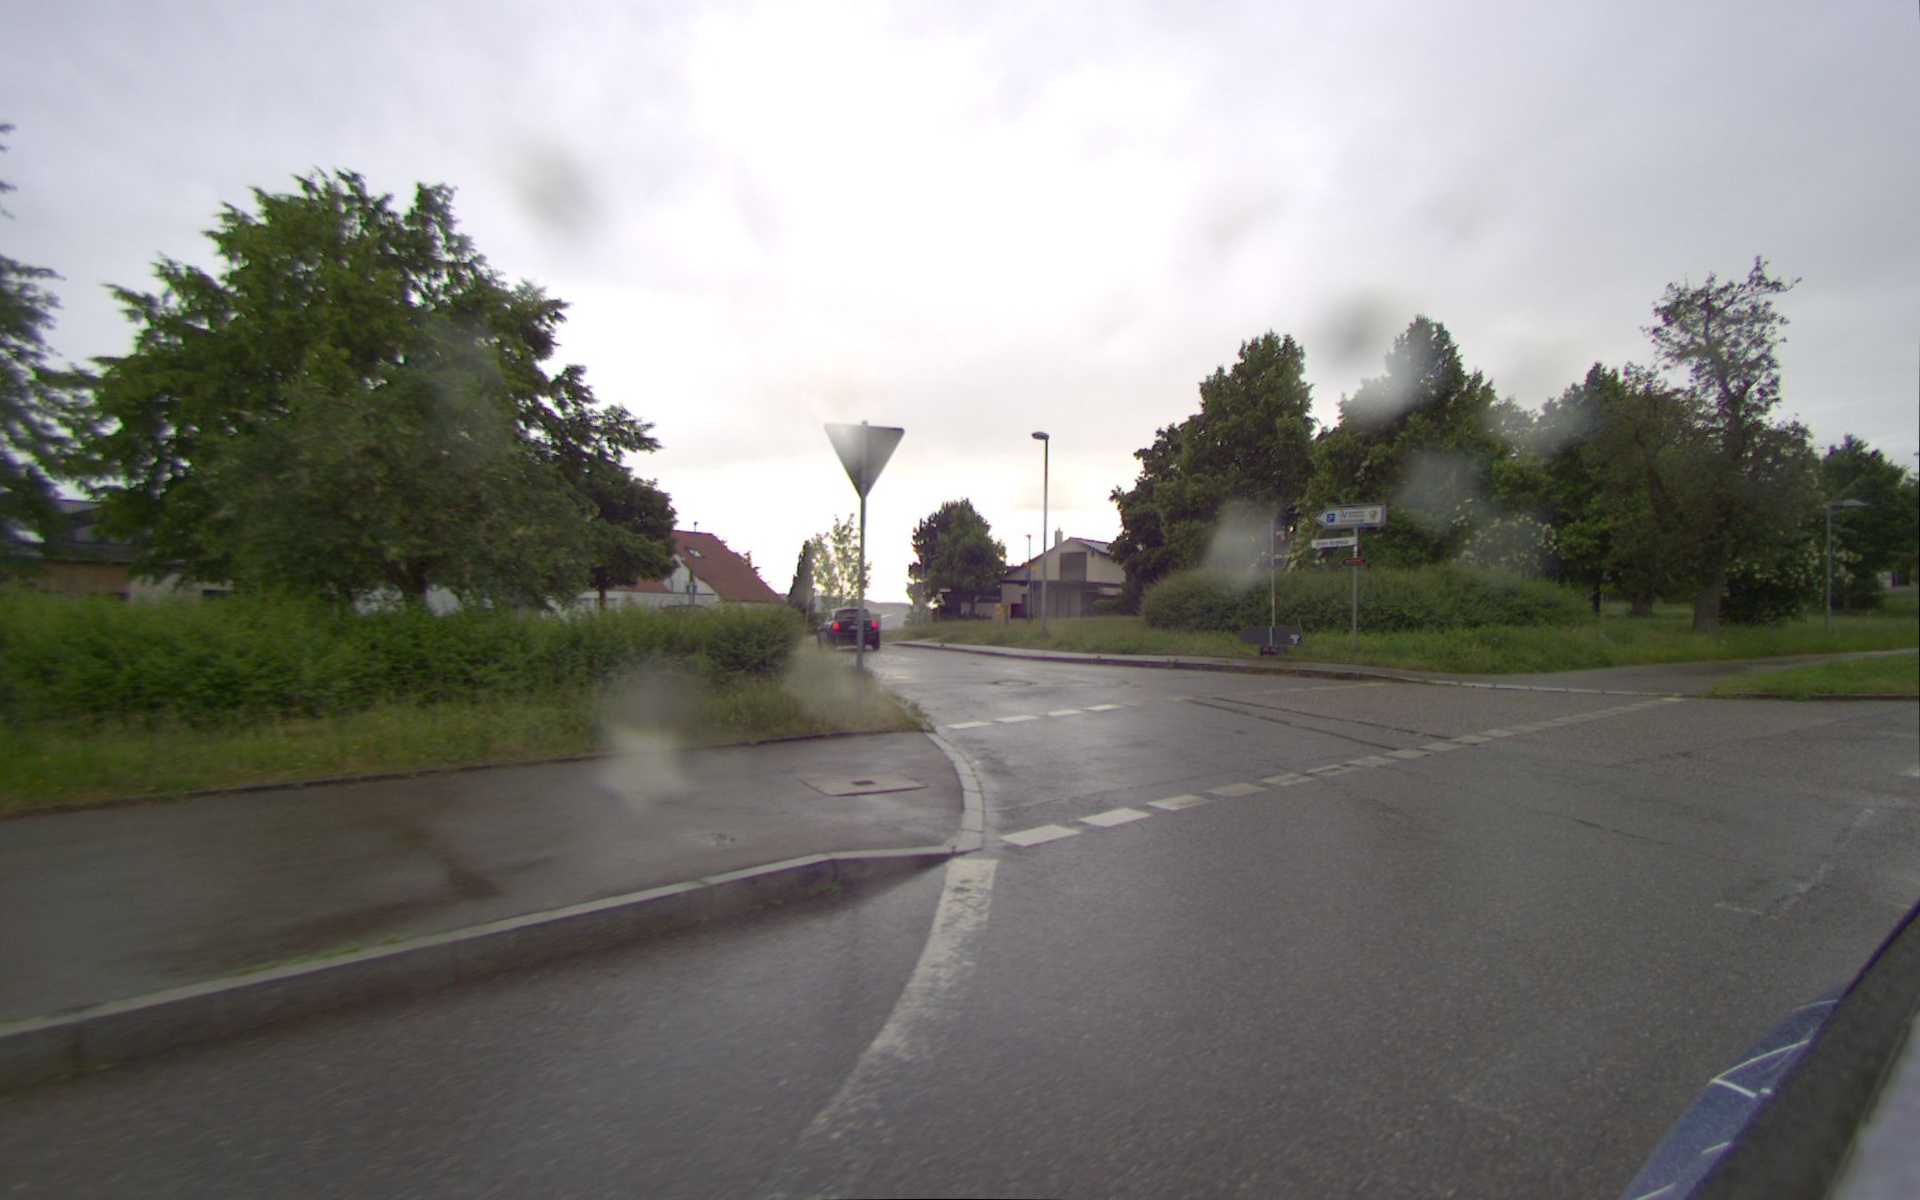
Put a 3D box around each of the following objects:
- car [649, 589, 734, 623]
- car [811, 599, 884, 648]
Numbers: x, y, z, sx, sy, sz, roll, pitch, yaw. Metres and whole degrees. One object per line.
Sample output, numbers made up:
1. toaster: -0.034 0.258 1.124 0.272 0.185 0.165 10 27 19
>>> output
1. car: -13.987 0.293 52.743 3.921 1.742 1.802 0 -1 -31
2. car: -3.827 0.742 33.864 1.777 1.523 3.618 0 0 -17
